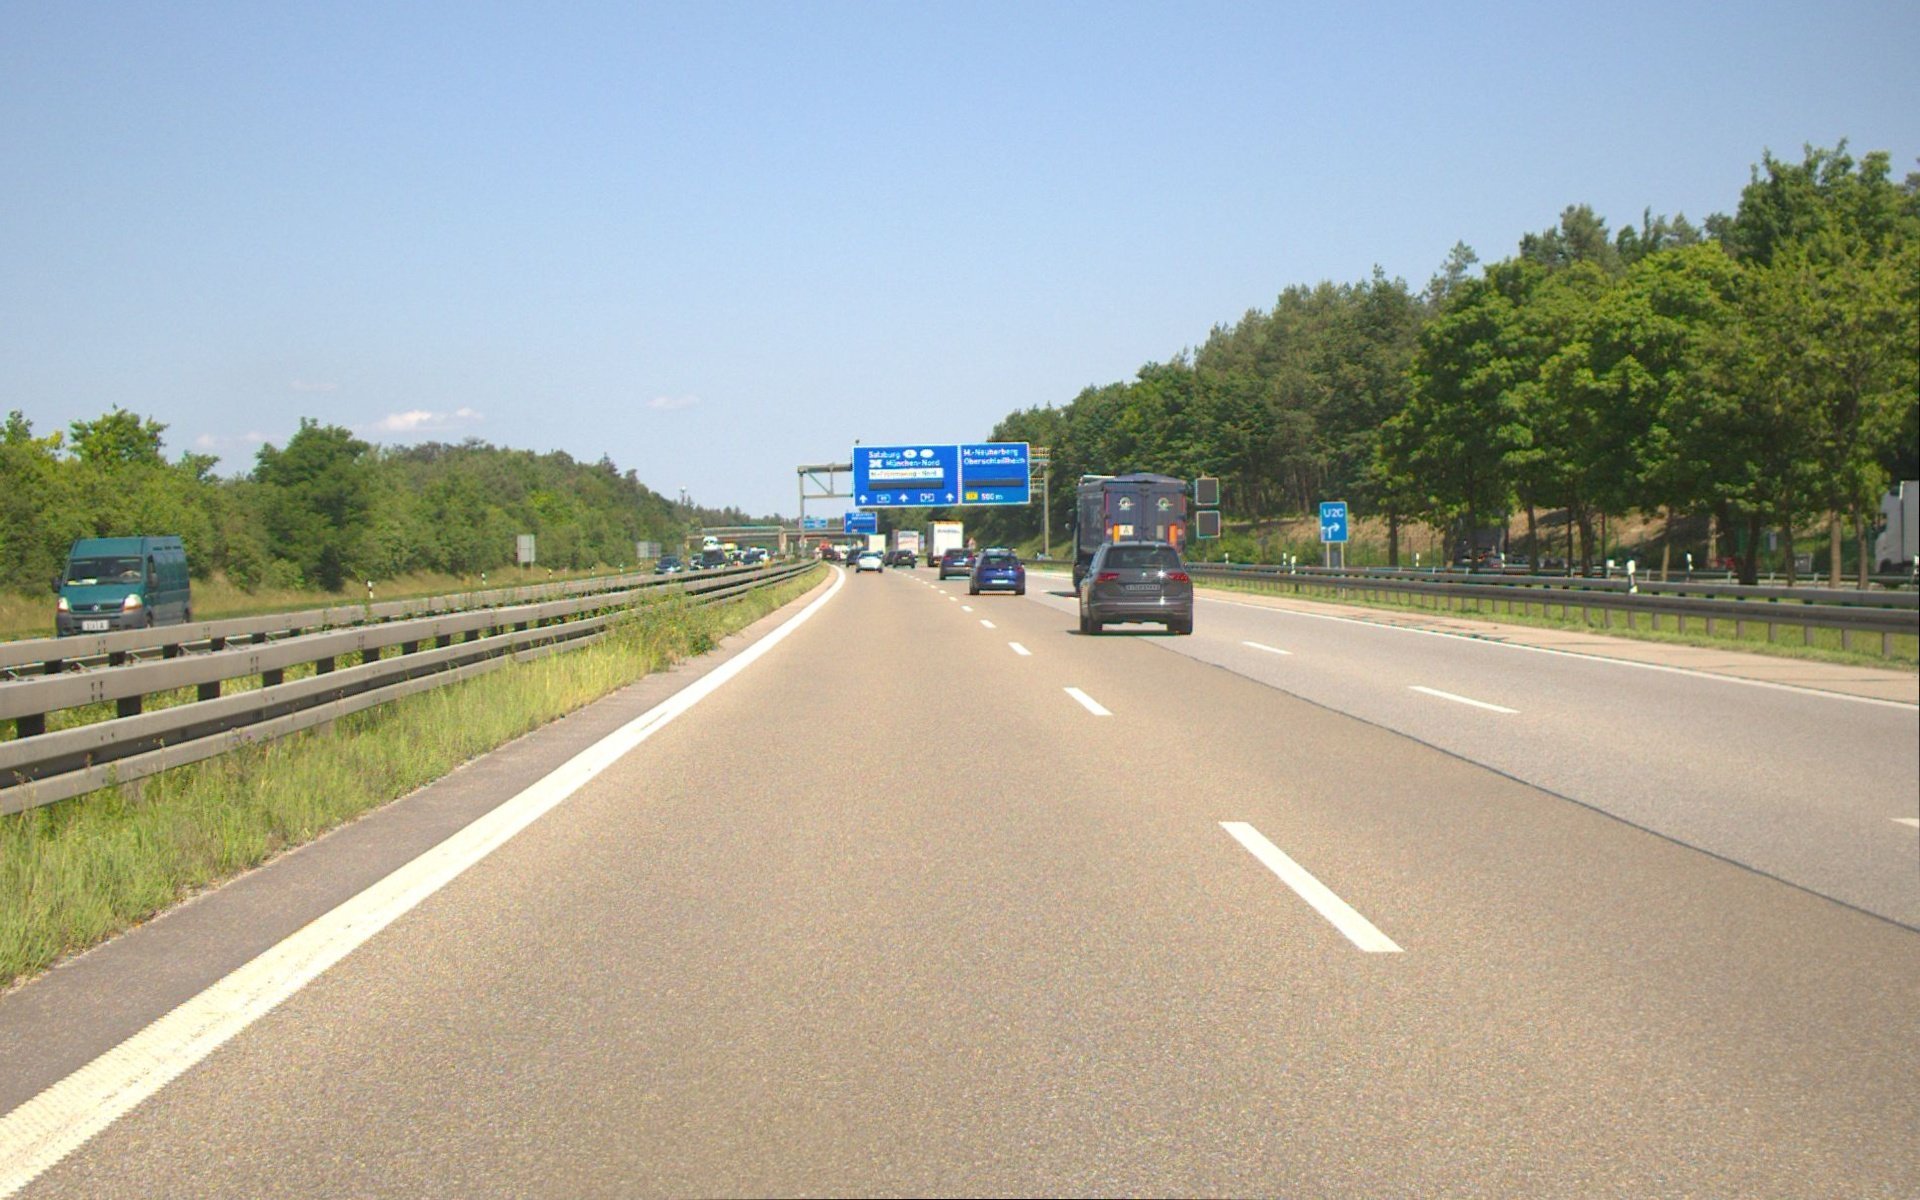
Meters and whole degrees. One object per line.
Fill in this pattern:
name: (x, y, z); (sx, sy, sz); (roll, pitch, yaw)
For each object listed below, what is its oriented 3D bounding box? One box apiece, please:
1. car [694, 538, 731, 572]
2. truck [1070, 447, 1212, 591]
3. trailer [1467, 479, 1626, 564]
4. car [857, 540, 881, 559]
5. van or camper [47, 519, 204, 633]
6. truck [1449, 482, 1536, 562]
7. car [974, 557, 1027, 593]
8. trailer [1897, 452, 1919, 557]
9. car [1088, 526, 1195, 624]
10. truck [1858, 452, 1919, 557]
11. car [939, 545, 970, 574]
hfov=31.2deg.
car: (-15.533, -2.830, 215.559); (1.993, 2.102, 4.302); (-2, 1, -1)
truck: (5.781, -2.616, 112.574); (3.780, 4.407, 14.051); (0, 1, 0)
trailer: (27.823, -3.697, 163.829); (2.571, 3.901, 12.753); (0, 1, -14)
car: (-6.030, -3.320, 227.584); (1.471, 1.223, 3.410); (-1, 1, 0)
van or camper: (-18.603, -0.581, 76.908); (1.993, 2.384, 6.241); (-2, 1, -1)
truck: (26.304, -3.839, 169.967); (2.571, 3.901, 4.868); (0, 1, -14)
car: (1.336, -0.849, 114.601); (1.709, 1.151, 3.689); (-1, 1, 0)
trailer: (36.764, -3.390, 119.324); (2.857, 3.783, 14.193); (0, 1, -8)
car: (3.178, -0.473, 60.816); (1.799, 1.663, 4.258); (1, 1, 2)
truck: (35.633, -3.510, 127.314); (2.808, 3.783, 5.147); (0, 1, -8)
car: (-0.278, -2.050, 173.752); (1.471, 1.393, 3.410); (2, 1, -1)
